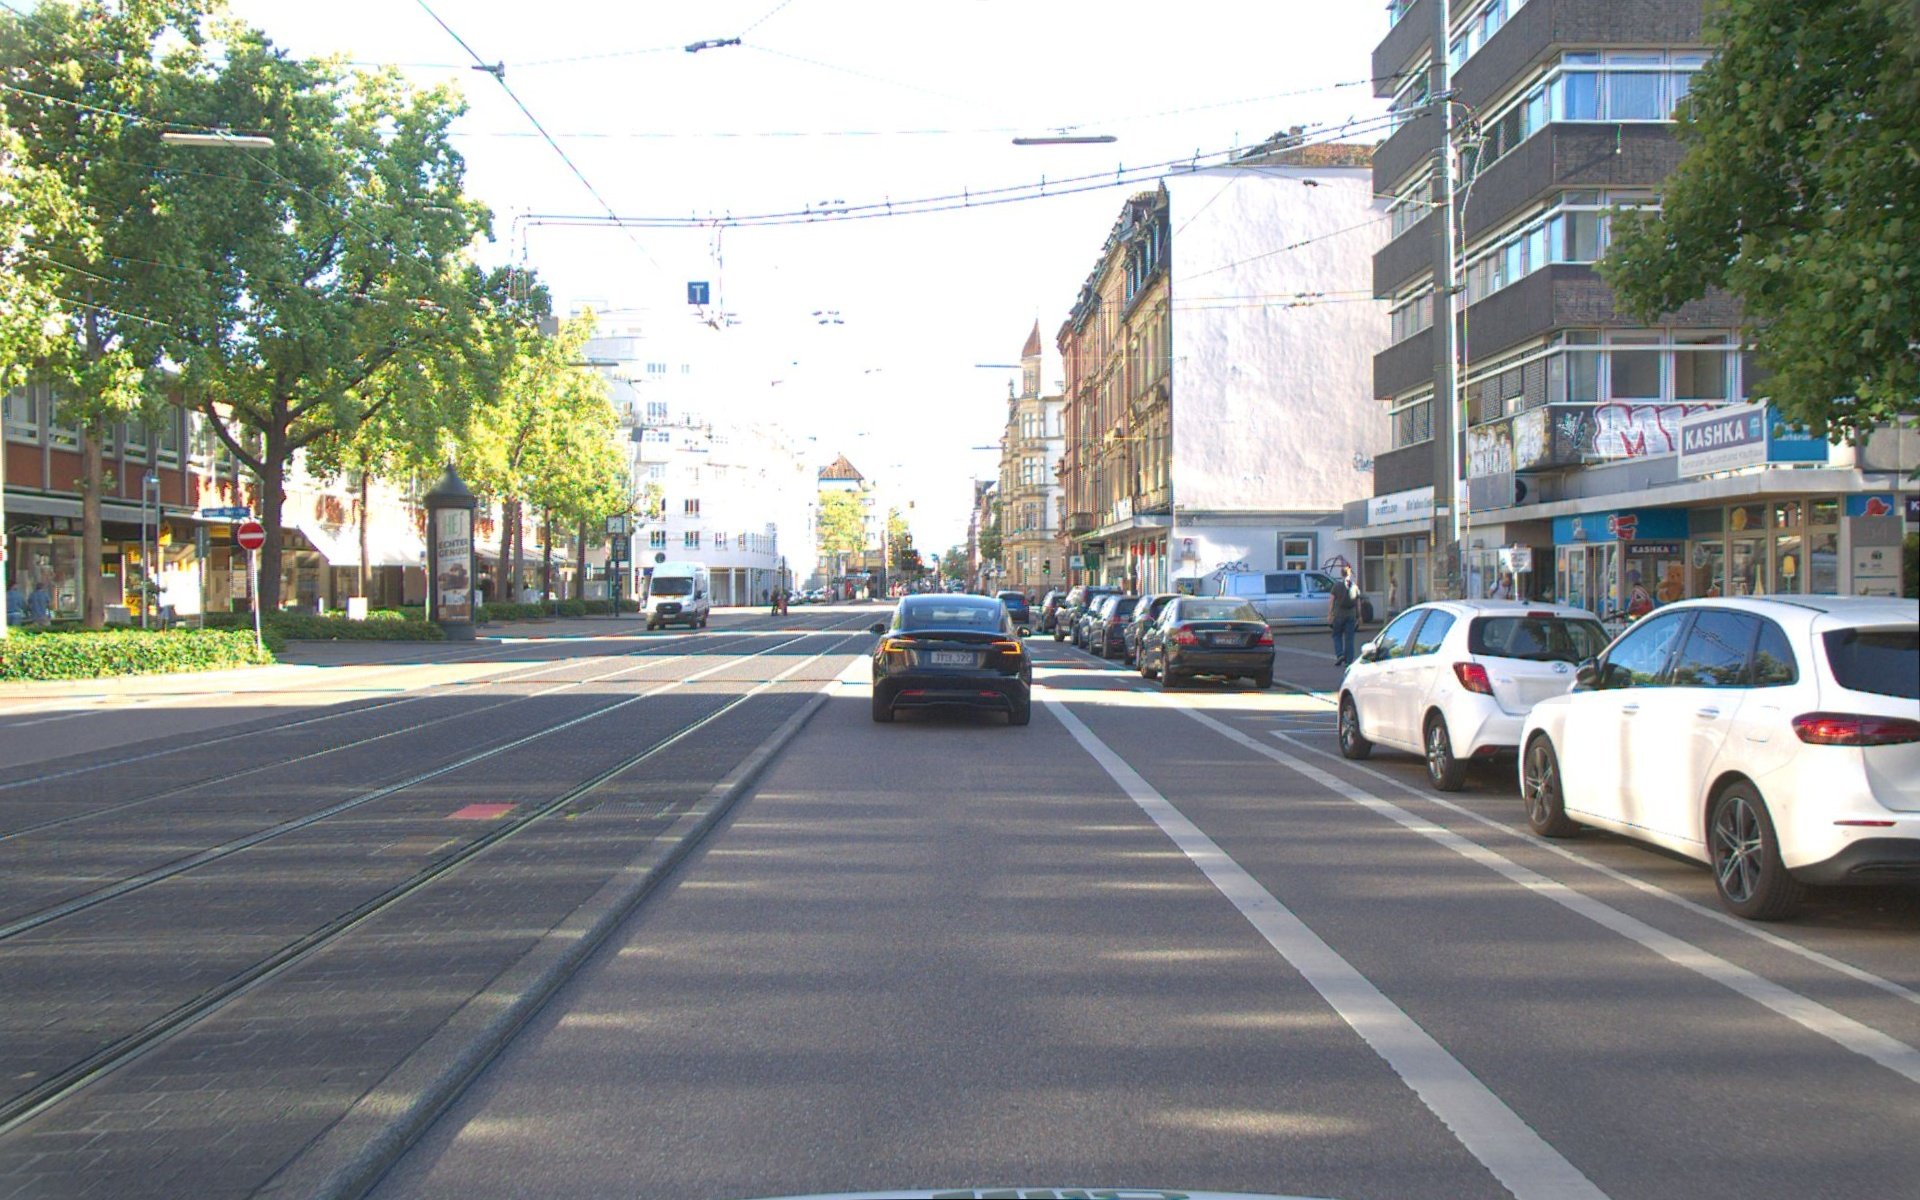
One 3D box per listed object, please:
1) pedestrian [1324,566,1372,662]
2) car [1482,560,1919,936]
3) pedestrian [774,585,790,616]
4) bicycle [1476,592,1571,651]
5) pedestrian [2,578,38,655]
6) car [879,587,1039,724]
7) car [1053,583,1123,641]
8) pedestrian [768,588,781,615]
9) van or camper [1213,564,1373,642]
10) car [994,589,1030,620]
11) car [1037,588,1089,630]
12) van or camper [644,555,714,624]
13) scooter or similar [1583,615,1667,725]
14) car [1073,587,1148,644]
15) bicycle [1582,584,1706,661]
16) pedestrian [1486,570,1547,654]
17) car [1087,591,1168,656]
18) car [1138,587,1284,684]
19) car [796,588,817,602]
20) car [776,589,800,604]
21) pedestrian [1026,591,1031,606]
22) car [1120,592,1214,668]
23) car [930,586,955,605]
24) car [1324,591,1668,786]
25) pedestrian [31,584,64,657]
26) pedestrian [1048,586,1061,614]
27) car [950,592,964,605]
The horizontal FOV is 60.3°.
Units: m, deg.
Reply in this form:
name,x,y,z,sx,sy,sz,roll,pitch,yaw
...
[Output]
name,x,y,z,sx,sy,sz,roll,pitch,yaw
pedestrian,7.578,0.270,32.357,0.707,1.844,0.889,0,-1,-1
car,4.488,0.673,9.321,1.511,1.597,4.440,1,-1,-3
pedestrian,-10.104,0.010,93.993,0.827,1.725,0.796,2,0,-2
bicycle,12.061,0.466,35.381,2.155,1.240,0.795,1,-1,-34
pedestrian,-23.657,0.413,41.623,0.580,1.905,0.537,2,0,-10
car,-0.072,0.580,19.558,1.685,1.430,3.708,1,0,-2
car,3.826,0.395,49.913,1.792,1.657,4.095,1,-1,0
pedestrian,-10.880,0.098,96.964,0.688,1.528,0.794,1,-1,-5
van or camper,10.263,0.097,51.295,4.547,2.173,1.988,-3,-1,3
car,2.435,0.221,78.473,1.561,1.458,3.686,0,0,0
car,3.750,0.337,60.679,1.680,1.498,3.719,0,0,0
van or camper,-11.577,-0.388,68.579,2.097,2.700,6.876,0,0,-3
scooter or similar,8.153,0.837,20.316,0.526,1.256,1.360,-5,-1,7
car,4.044,0.430,44.884,1.547,1.469,3.912,1,-1,-2
bicycle,10.503,0.348,25.426,1.646,1.160,0.579,0,-1,2
pedestrian,12.140,0.255,36.083,1.130,1.759,1.043,2,0,24
car,3.970,0.570,39.671,1.432,1.457,3.812,1,-1,-2
car,4.163,0.572,28.090,1.676,1.482,4.549,1,0,-1
car,-17.167,-0.583,185.323,1.953,1.521,3.999,-1,0,-1
car,-16.781,-0.314,161.228,1.953,1.392,3.999,0,0,-1
pedestrian,5.819,-0.151,140.541,0.432,1.242,0.389,0,0,-2
car,4.267,0.622,34.468,1.546,1.472,3.309,1,-1,0
car,-1.646,-0.408,152.543,1.955,1.552,3.995,1,-1,-5
car,4.519,0.690,14.539,1.570,1.469,3.882,1,0,-3
pedestrian,-23.068,0.511,41.817,0.535,1.833,0.587,2,0,-10
pedestrian,5.695,-0.002,99.857,0.734,1.645,0.705,0,-1,-3
car,-0.401,-0.212,220.668,1.808,1.620,4.000,-1,0,0
